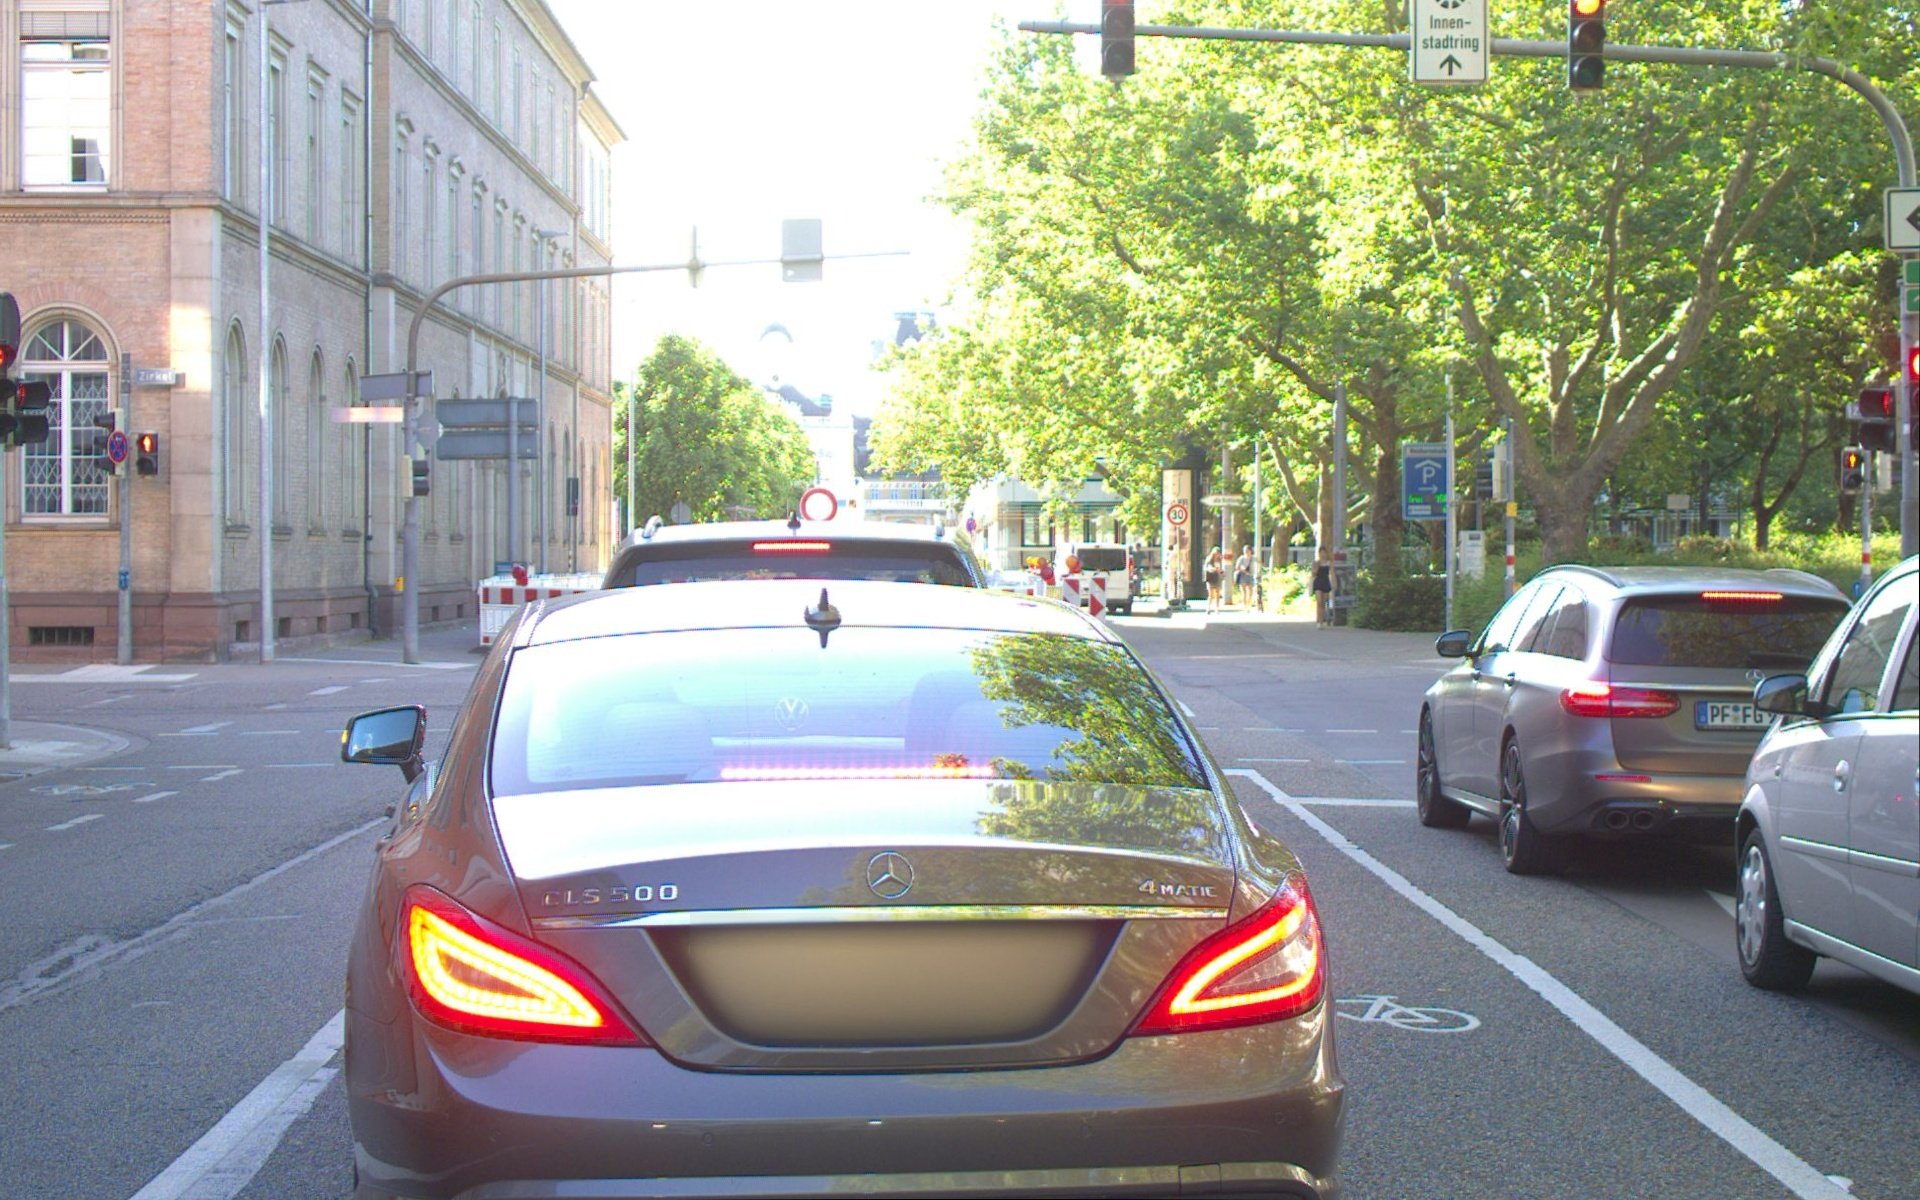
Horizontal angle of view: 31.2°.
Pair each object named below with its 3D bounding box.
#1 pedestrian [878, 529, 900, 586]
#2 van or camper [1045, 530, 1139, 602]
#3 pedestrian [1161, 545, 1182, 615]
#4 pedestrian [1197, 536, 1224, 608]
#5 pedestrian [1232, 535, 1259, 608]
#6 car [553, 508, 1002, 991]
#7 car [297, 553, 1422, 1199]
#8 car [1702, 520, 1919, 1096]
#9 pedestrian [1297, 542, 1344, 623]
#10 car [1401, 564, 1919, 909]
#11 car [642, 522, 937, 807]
[{"bbox_3d":[-2.494,-1.488,120.438,0.724,2.007,0.748,1,1,-4],"label":"pedestrian"},{"bbox_3d":[3.649,-0.952,95.479,1.993,1.935,4.595,1,1,-5],"label":"van or camper"},{"bbox_3d":[6.057,-0.568,98.549,0.539,2.007,0.474,1,0,-1],"label":"pedestrian"},{"bbox_3d":[6.275,-0.704,86.124,0.603,1.815,0.651,1,1,-1],"label":"pedestrian"},{"bbox_3d":[7.137,-0.719,86.017,0.603,1.815,0.651,1,1,-1],"label":"pedestrian"},{"bbox_3d":[-0.712,0.483,13.703,1.517,1.641,3.881,1,1,-3],"label":"car"},{"bbox_3d":[-0.434,0.639,7.670,1.803,1.451,4.352,0,1,-8],"label":"car"},{"bbox_3d":[3.563,0.584,10.687,1.701,1.597,3.859,2,1,1],"label":"car"},{"bbox_3d":[7.126,-0.351,67.949,0.830,1.601,0.651,1,1,-1],"label":"pedestrian"},{"bbox_3d":[3.537,0.579,17.475,1.913,1.459,4.669,1,1,-1],"label":"car"},{"bbox_3d":[-1.076,0.362,23.253,1.820,1.756,4.000,0,1,-1],"label":"car"}]
